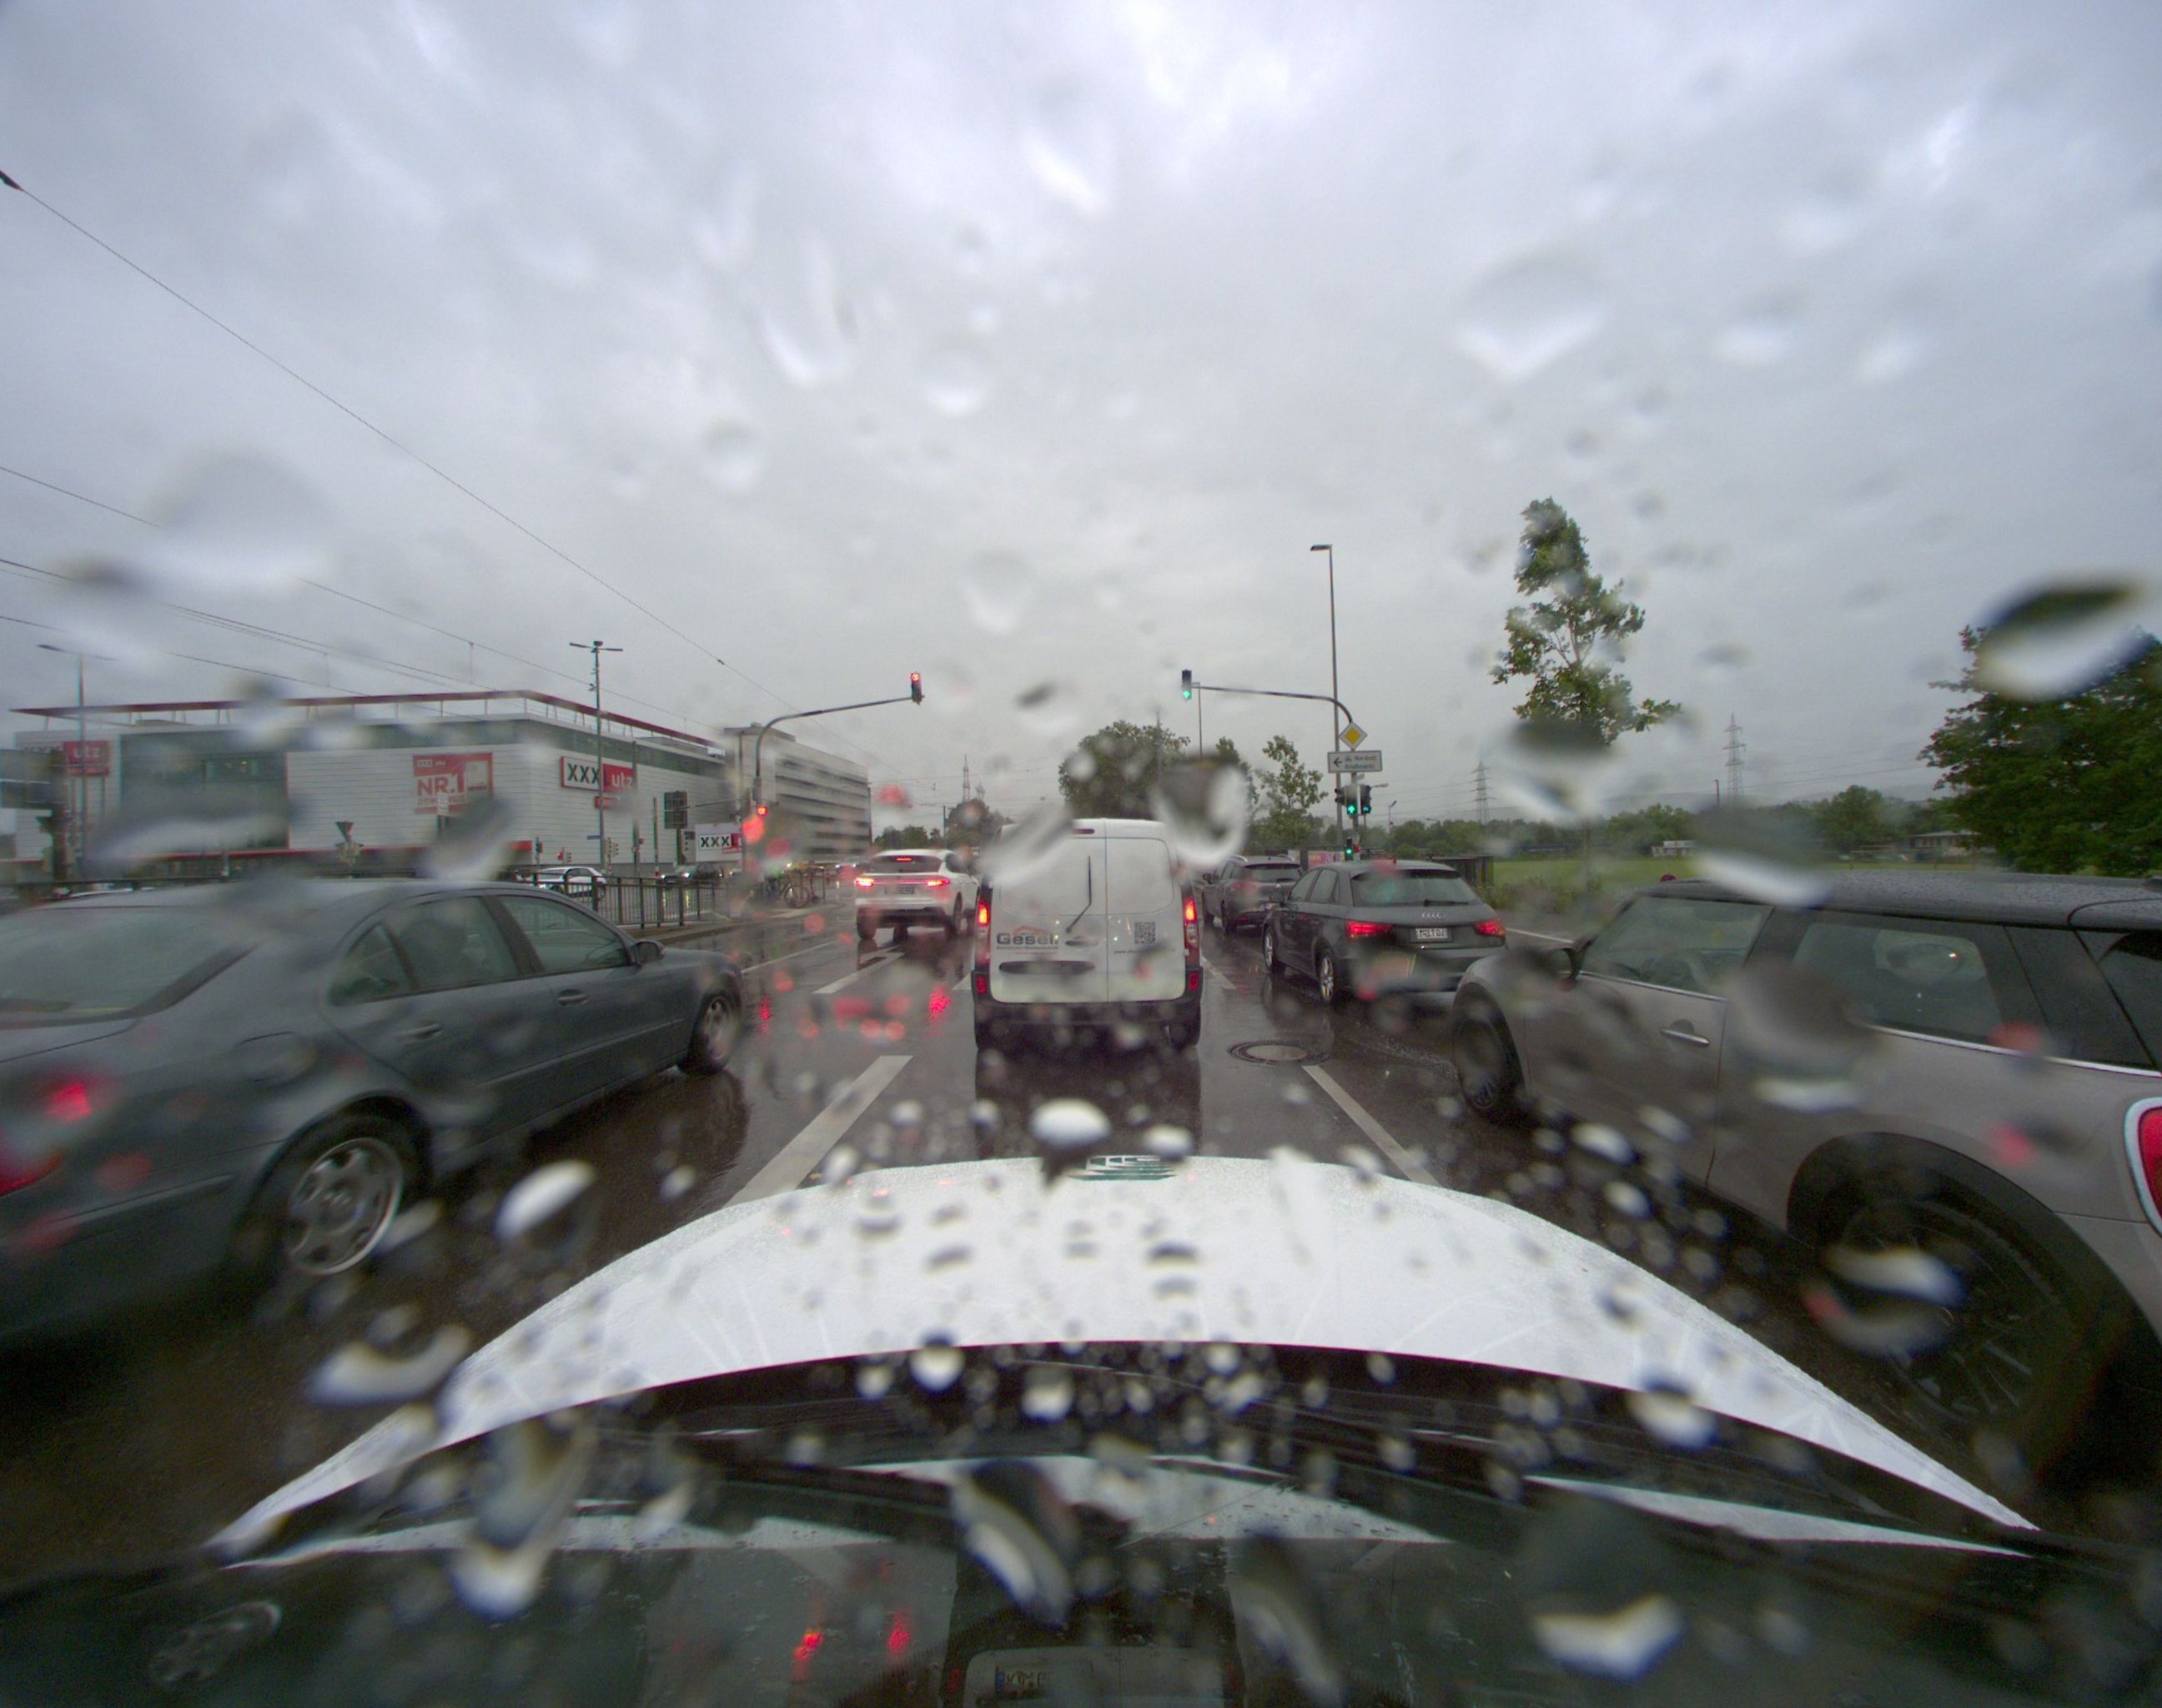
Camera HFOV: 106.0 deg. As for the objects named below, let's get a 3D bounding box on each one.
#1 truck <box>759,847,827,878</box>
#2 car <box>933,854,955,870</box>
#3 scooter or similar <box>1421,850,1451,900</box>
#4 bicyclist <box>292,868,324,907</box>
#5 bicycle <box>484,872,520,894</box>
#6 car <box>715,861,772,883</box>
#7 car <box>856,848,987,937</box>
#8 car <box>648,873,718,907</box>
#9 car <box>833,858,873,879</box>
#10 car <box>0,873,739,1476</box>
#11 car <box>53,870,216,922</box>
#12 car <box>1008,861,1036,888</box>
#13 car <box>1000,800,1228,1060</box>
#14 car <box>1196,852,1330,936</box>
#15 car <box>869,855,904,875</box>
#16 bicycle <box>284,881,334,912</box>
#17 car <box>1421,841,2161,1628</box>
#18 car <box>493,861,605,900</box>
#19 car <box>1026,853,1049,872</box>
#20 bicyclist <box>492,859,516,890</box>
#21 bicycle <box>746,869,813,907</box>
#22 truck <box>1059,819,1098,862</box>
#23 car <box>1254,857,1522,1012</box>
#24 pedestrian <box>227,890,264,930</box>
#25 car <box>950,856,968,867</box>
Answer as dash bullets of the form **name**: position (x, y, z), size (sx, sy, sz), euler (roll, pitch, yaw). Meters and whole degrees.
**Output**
- **truck**: position (-22.612, 0.633, 64.337), size (2.342, 2.279, 7.637), euler (0, 0, 2)
- **car**: position (-17.563, 1.064, 104.521), size (1.985, 2.014, 4.003), euler (0, -1, 3)
- **scooter or similar**: position (8.485, 0.501, 19.491), size (0.244, 1.158, 1.187), euler (0, -1, 3)
- **bicyclist**: position (-28.400, 1.227, 29.924), size (0.531, 1.399, 0.650), euler (0, -1, -1)
- **bicycle**: position (-27.579, 1.380, 38.809), size (0.448, 0.987, 1.710), euler (0, -1, 3)
- **car**: position (-20.661, 1.090, 50.048), size (1.579, 1.336, 3.837), euler (-1, -1, 6)
- **car**: position (-3.034, 0.654, 16.376), size (1.723, 1.535, 4.298), euler (0, 0, 1)
- **car**: position (-23.830, 2.136, 48.908), size (1.984, 1.904, 4.005), euler (0, -1, 5)
- **car**: position (-19.101, 1.231, 68.459), size (1.883, 1.699, 4.006), euler (-1, -1, 6)
- **car**: position (-3.453, 0.815, 3.789), size (1.756, 1.398, 4.644), euler (0, -1, 0)
- **car**: position (-38.327, 1.673, 33.055), size (4.298, 2.014, 2.001), euler (0, -1, 1)
- **car**: position (-4.325, 1.456, 59.644), size (1.990, 1.860, 3.993), euler (0, -1, -5)
- **car**: position (0.295, 0.540, 7.669), size (1.560, 1.788, 4.002), euler (-1, 0, 2)
- **car**: position (3.446, 0.695, 16.098), size (1.853, 1.428, 3.808), euler (0, 0, 1)
- **car**: position (-18.285, 0.992, 76.758), size (1.919, 1.827, 4.007), euler (-1, -1, 6)
- **bicycle**: position (-28.389, 1.553, 29.956), size (0.409, 1.061, 1.508), euler (0, -1, -1)
- **car**: position (2.944, 0.723, 3.240), size (1.707, 1.508, 3.624), euler (0, 0, 1)
- **car**: position (-21.760, 1.053, 33.508), size (1.689, 1.492, 3.884), euler (-1, -1, 7)
- **car**: position (-4.476, 0.890, 84.045), size (1.986, 1.860, 4.002), euler (0, -1, 2)
- **bicyclist**: position (-27.562, 0.983, 38.885), size (0.681, 1.464, 0.647), euler (0, -1, 3)
- **bicycle**: position (-8.826, 0.987, 23.885), size (1.745, 1.034, 0.414), euler (2, -1, 0)
- **truck**: position (-0.218, -0.889, 58.158), size (2.625, 2.816, 7.142), euler (-1, -1, -1)
- **car**: position (3.085, 0.717, 8.976), size (1.623, 1.344, 3.624), euler (0, 0, 1)
- **pedestrian**: position (-33.430, 2.234, 32.593), size (0.561, 1.537, 0.872), euler (0, -1, 1)
- **car**: position (-17.486, 1.037, 117.102), size (1.755, 1.549, 3.683), euler (0, -1, 3)
